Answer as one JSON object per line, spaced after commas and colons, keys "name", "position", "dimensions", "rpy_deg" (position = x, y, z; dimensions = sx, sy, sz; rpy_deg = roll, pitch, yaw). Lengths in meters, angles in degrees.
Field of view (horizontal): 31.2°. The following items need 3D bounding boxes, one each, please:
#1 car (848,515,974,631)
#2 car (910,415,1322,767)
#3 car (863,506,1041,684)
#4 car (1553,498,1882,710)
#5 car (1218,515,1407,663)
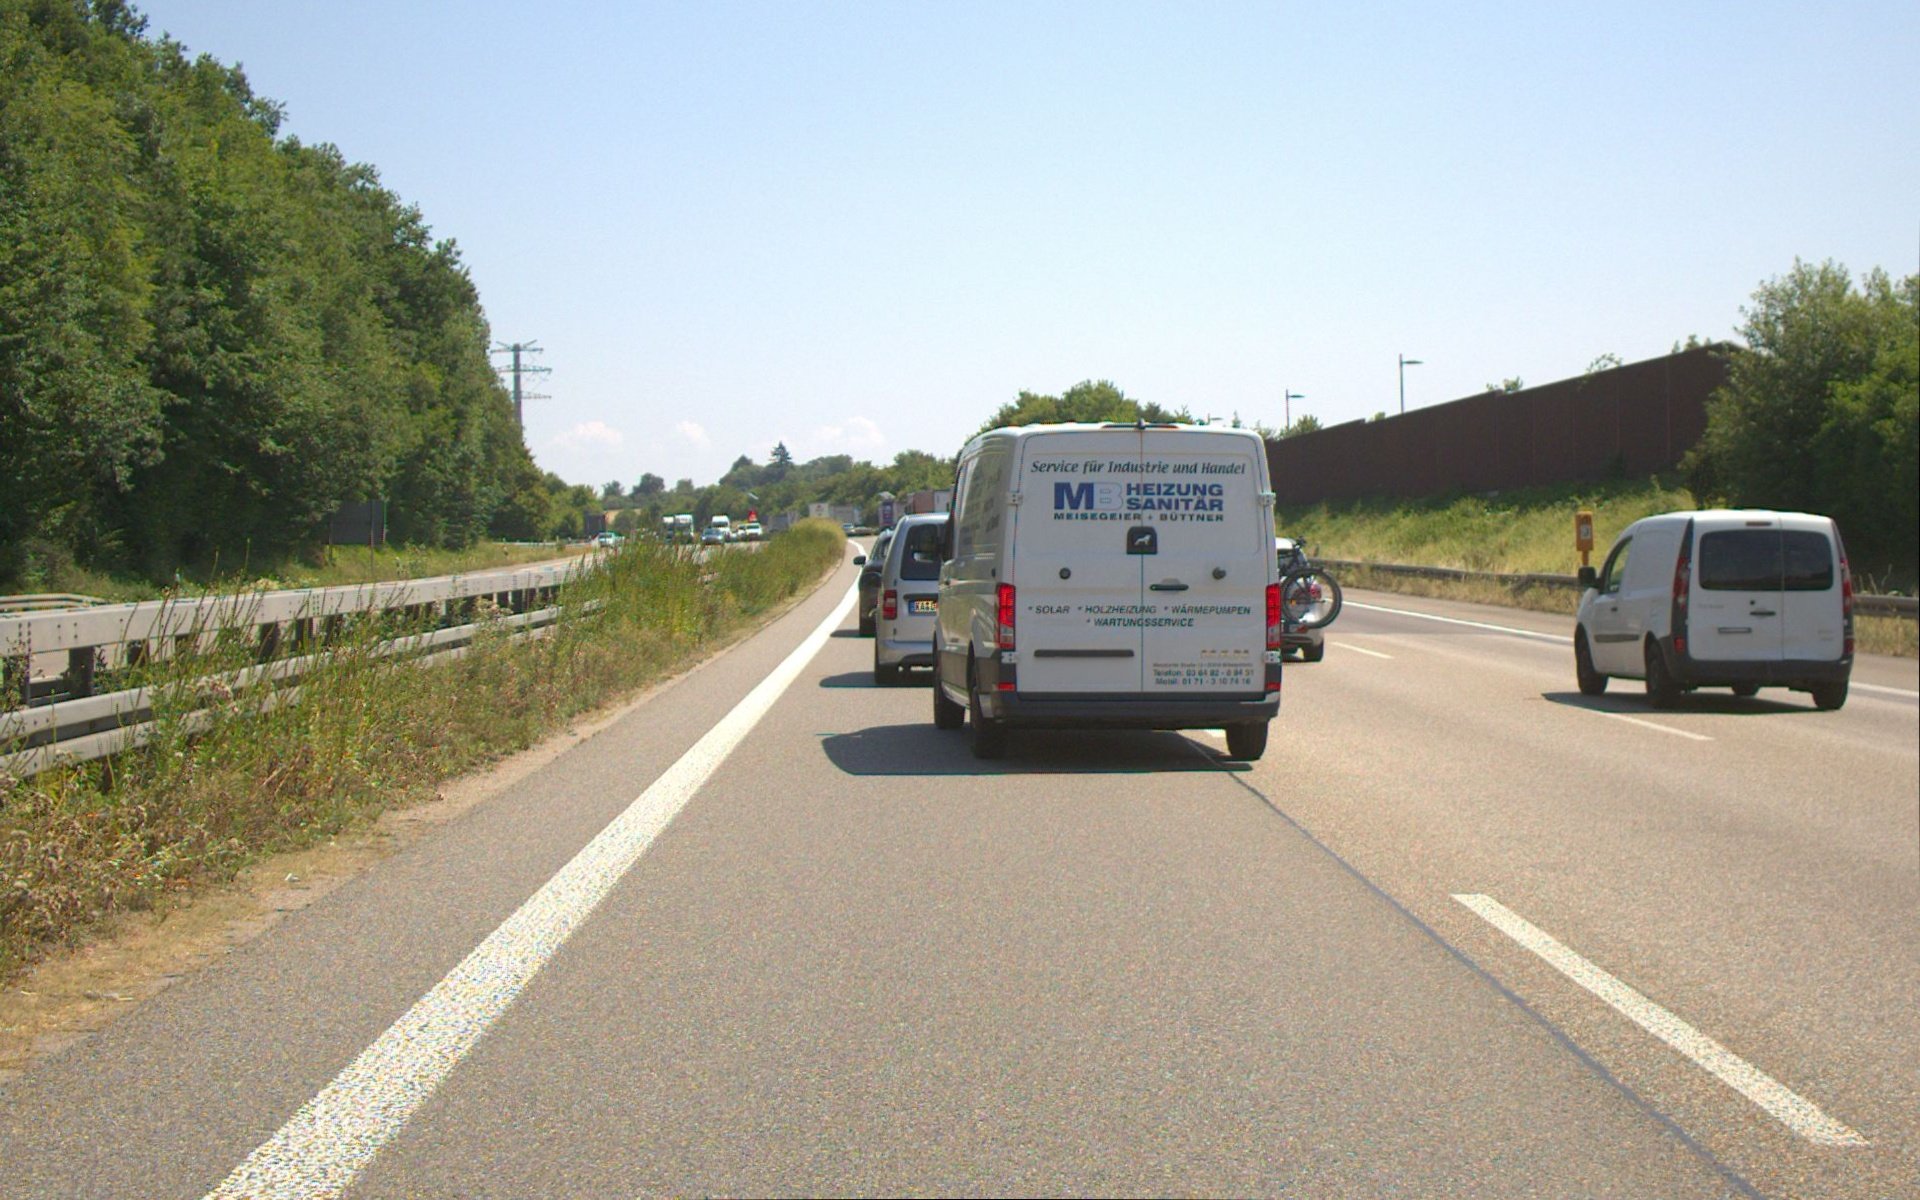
{"name": "car", "position": [-0.713, -0.418, 53.018], "dimensions": [1.745, 1.695, 4.088], "rpy_deg": [-1, 0, 2]}
{"name": "car", "position": [0.973, -0.079, 24.795], "dimensions": [2.181, 2.246, 5.364], "rpy_deg": [0, 1, -6]}
{"name": "car", "position": [-0.041, -0.071, 36.499], "dimensions": [1.745, 1.758, 4.088], "rpy_deg": [-1, 0, 1]}
{"name": "car", "position": [7.033, 0.020, 32.357], "dimensions": [1.950, 1.831, 4.179], "rpy_deg": [-1, 0, -3]}
{"name": "car", "position": [4.338, -0.150, 42.827], "dimensions": [1.976, 1.727, 4.088], "rpy_deg": [-1, 0, 1]}
